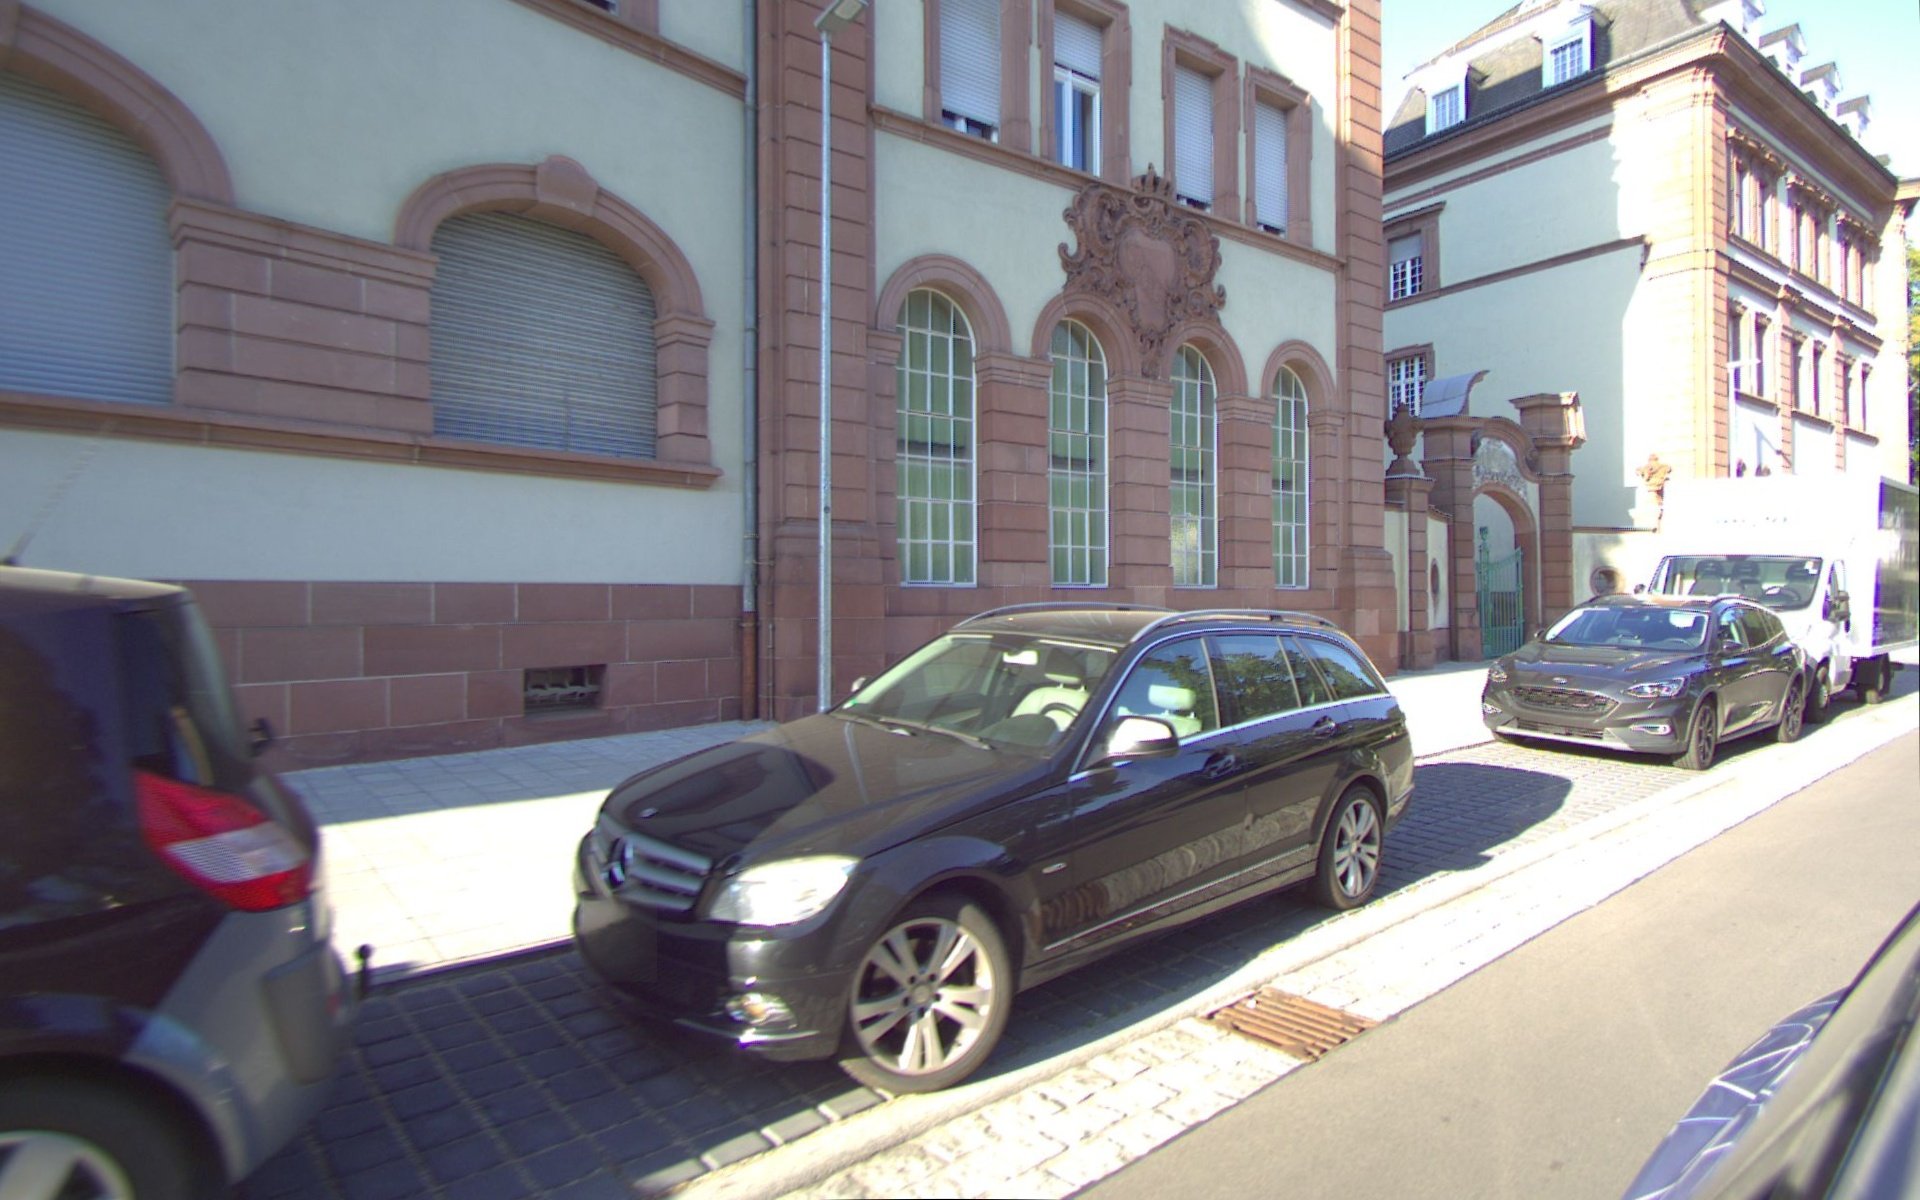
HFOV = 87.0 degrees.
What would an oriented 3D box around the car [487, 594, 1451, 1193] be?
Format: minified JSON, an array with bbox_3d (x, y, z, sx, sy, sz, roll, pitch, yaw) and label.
[{"bbox_3d":[0.414,0.728,4.746,4.445,1.454,1.874,-1,1,-42],"label":"car"}]

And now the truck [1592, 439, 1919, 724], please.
[{"bbox_3d":[11.418,-0.266,14.130,5.979,3.159,2.629,-1,1,-40],"label":"truck"}]

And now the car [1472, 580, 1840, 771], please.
[{"bbox_3d":[7.207,0.575,10.310,4.488,1.549,1.773,-1,2,-37],"label":"car"}]

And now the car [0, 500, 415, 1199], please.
[{"bbox_3d":[-3.332,0.635,1.529,4.122,1.622,1.818,-1,1,-43],"label":"car"}]
